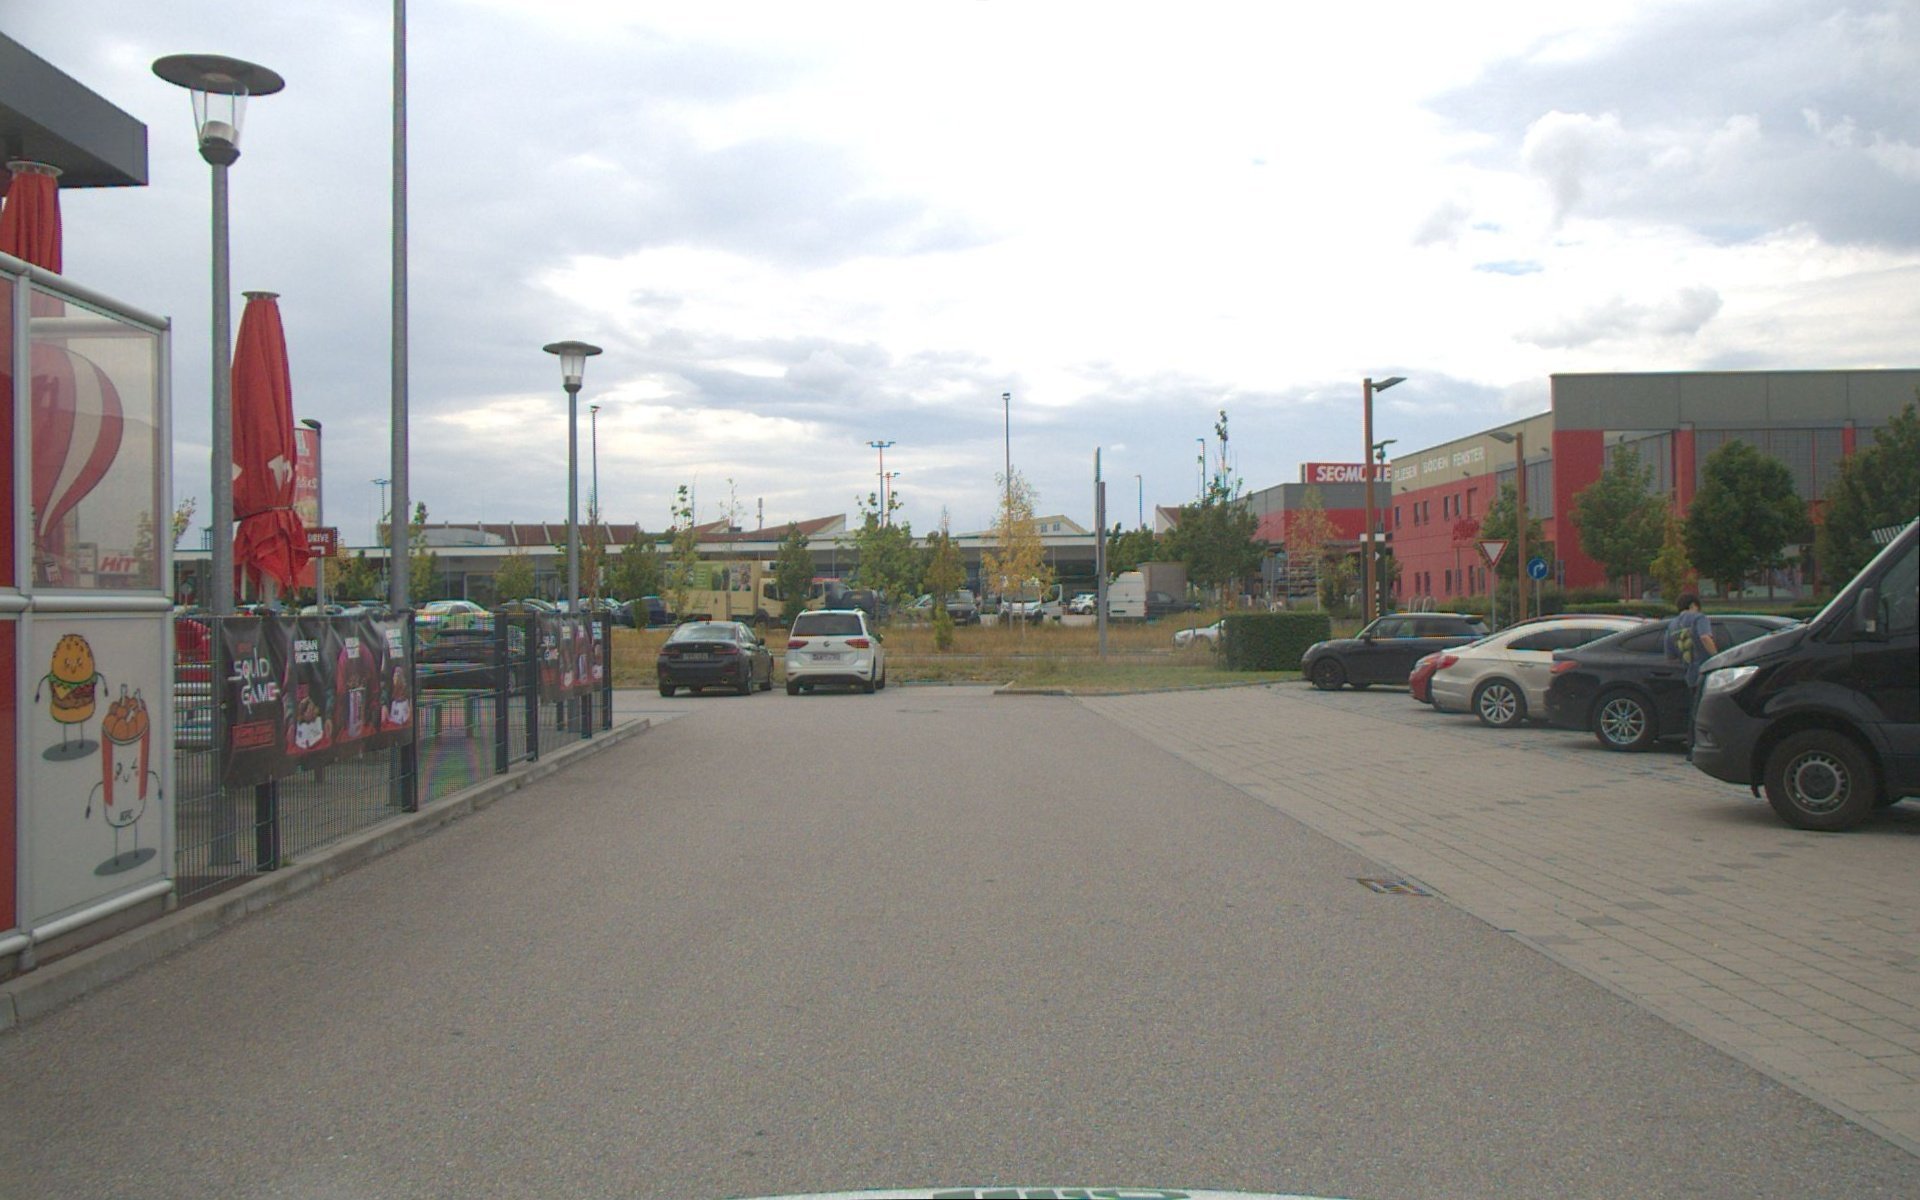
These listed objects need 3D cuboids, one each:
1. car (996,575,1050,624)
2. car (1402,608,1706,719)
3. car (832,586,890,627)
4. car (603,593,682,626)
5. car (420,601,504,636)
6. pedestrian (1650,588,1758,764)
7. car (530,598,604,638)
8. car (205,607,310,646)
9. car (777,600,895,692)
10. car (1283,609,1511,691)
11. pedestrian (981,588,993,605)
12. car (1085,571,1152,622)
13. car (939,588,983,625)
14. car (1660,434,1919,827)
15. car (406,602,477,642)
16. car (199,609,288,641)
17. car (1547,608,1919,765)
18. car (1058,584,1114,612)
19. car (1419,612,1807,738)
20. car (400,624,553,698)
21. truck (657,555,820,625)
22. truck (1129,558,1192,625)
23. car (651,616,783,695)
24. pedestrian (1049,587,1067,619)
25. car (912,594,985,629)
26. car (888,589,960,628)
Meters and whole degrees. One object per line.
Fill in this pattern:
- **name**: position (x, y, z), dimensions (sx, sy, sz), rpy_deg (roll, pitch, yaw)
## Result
- **car**: position (2.980, -0.068, 79.602), dimensions (2.359, 2.253, 6.059), rpy_deg (0, 1, 0)
- **car**: position (8.729, 0.880, 24.438), dimensions (3.923, 1.490, 1.680), rpy_deg (0, 0, 38)
- **car**: position (-4.778, 0.328, 80.295), dimensions (2.027, 1.917, 5.073), rpy_deg (0, 0, 5)
- **car**: position (-18.627, 0.547, 97.228), dimensions (4.219, 1.802, 2.000), rpy_deg (-1, 1, 0)
- **car**: position (-26.916, 1.000, 89.369), dimensions (3.904, 1.802, 2.001), rpy_deg (-1, 1, 19)
- **pedestrian**: position (7.485, 0.750, 16.643), dimensions (0.827, 1.707, 0.745), rpy_deg (-1, -2, 40)
- **car**: position (-19.487, 0.869, 82.202), dimensions (1.884, 1.802, 4.325), rpy_deg (-1, 1, 12)
- **car**: position (-26.779, 1.016, 63.131), dimensions (3.375, 1.394, 1.434), rpy_deg (-1, 1, 5)
- **car**: position (-2.476, 0.961, 33.975), dimensions (1.944, 1.743, 4.373), rpy_deg (0, -2, 2)
- **car**: position (8.235, 0.907, 31.307), dimensions (3.853, 1.437, 1.680), rpy_deg (0, 0, 37)
- **pedestrian**: position (2.250, -0.299, 139.036), dimensions (0.646, 1.454, 0.788), rpy_deg (-2, 1, -37)
- **car**: position (7.559, -0.216, 79.538), dimensions (2.291, 2.307, 6.504), rpy_deg (-1, 1, -2)
- **car**: position (0.029, 0.285, 79.332), dimensions (2.028, 1.667, 5.070), rpy_deg (0, 1, 0)
- **car**: position (8.366, 0.208, 10.604), dimensions (6.880, 2.598, 2.063), rpy_deg (0, 0, 39)
- **car**: position (-26.327, 1.096, 84.107), dimensions (1.951, 1.802, 4.324), rpy_deg (-1, 1, 5)
- **car**: position (-38.022, 1.309, 87.917), dimensions (1.953, 1.566, 4.160), rpy_deg (-1, 1, 22)
- **car**: position (8.636, 0.844, 17.436), dimensions (4.326, 1.489, 1.678), rpy_deg (0, 0, 40)
- **car**: position (8.975, -0.171, 117.738), dimensions (3.904, 1.870, 2.001), rpy_deg (-1, 1, 2)
- **car**: position (8.349, 0.890, 21.354), dimensions (4.375, 1.437, 1.745), rpy_deg (0, 0, 39)
- **car**: position (-9.874, 1.254, 34.106), dimensions (1.843, 1.437, 4.071), rpy_deg (0, -2, 2)
- **truck**: position (-10.924, -0.516, 81.064), dimensions (8.268, 3.251, 3.016), rpy_deg (0, 1, 38)
- **truck**: position (12.115, -0.588, 100.367), dimensions (2.594, 3.808, 8.255), rpy_deg (-1, 1, -1)
- **car**: position (-4.900, 1.146, 33.966), dimensions (1.901, 1.492, 4.516), rpy_deg (0, -2, 2)
- **pedestrian**: position (4.634, 0.135, 78.363), dimensions (0.769, 1.454, 0.978), rpy_deg (-1, 1, 1)
- **car**: position (-0.639, 0.601, 90.459), dimensions (3.906, 1.768, 1.891), rpy_deg (-1, 1, -1)
- **car**: position (-2.070, 0.470, 94.713), dimensions (3.912, 2.048, 1.997), rpy_deg (-1, 1, -8)
